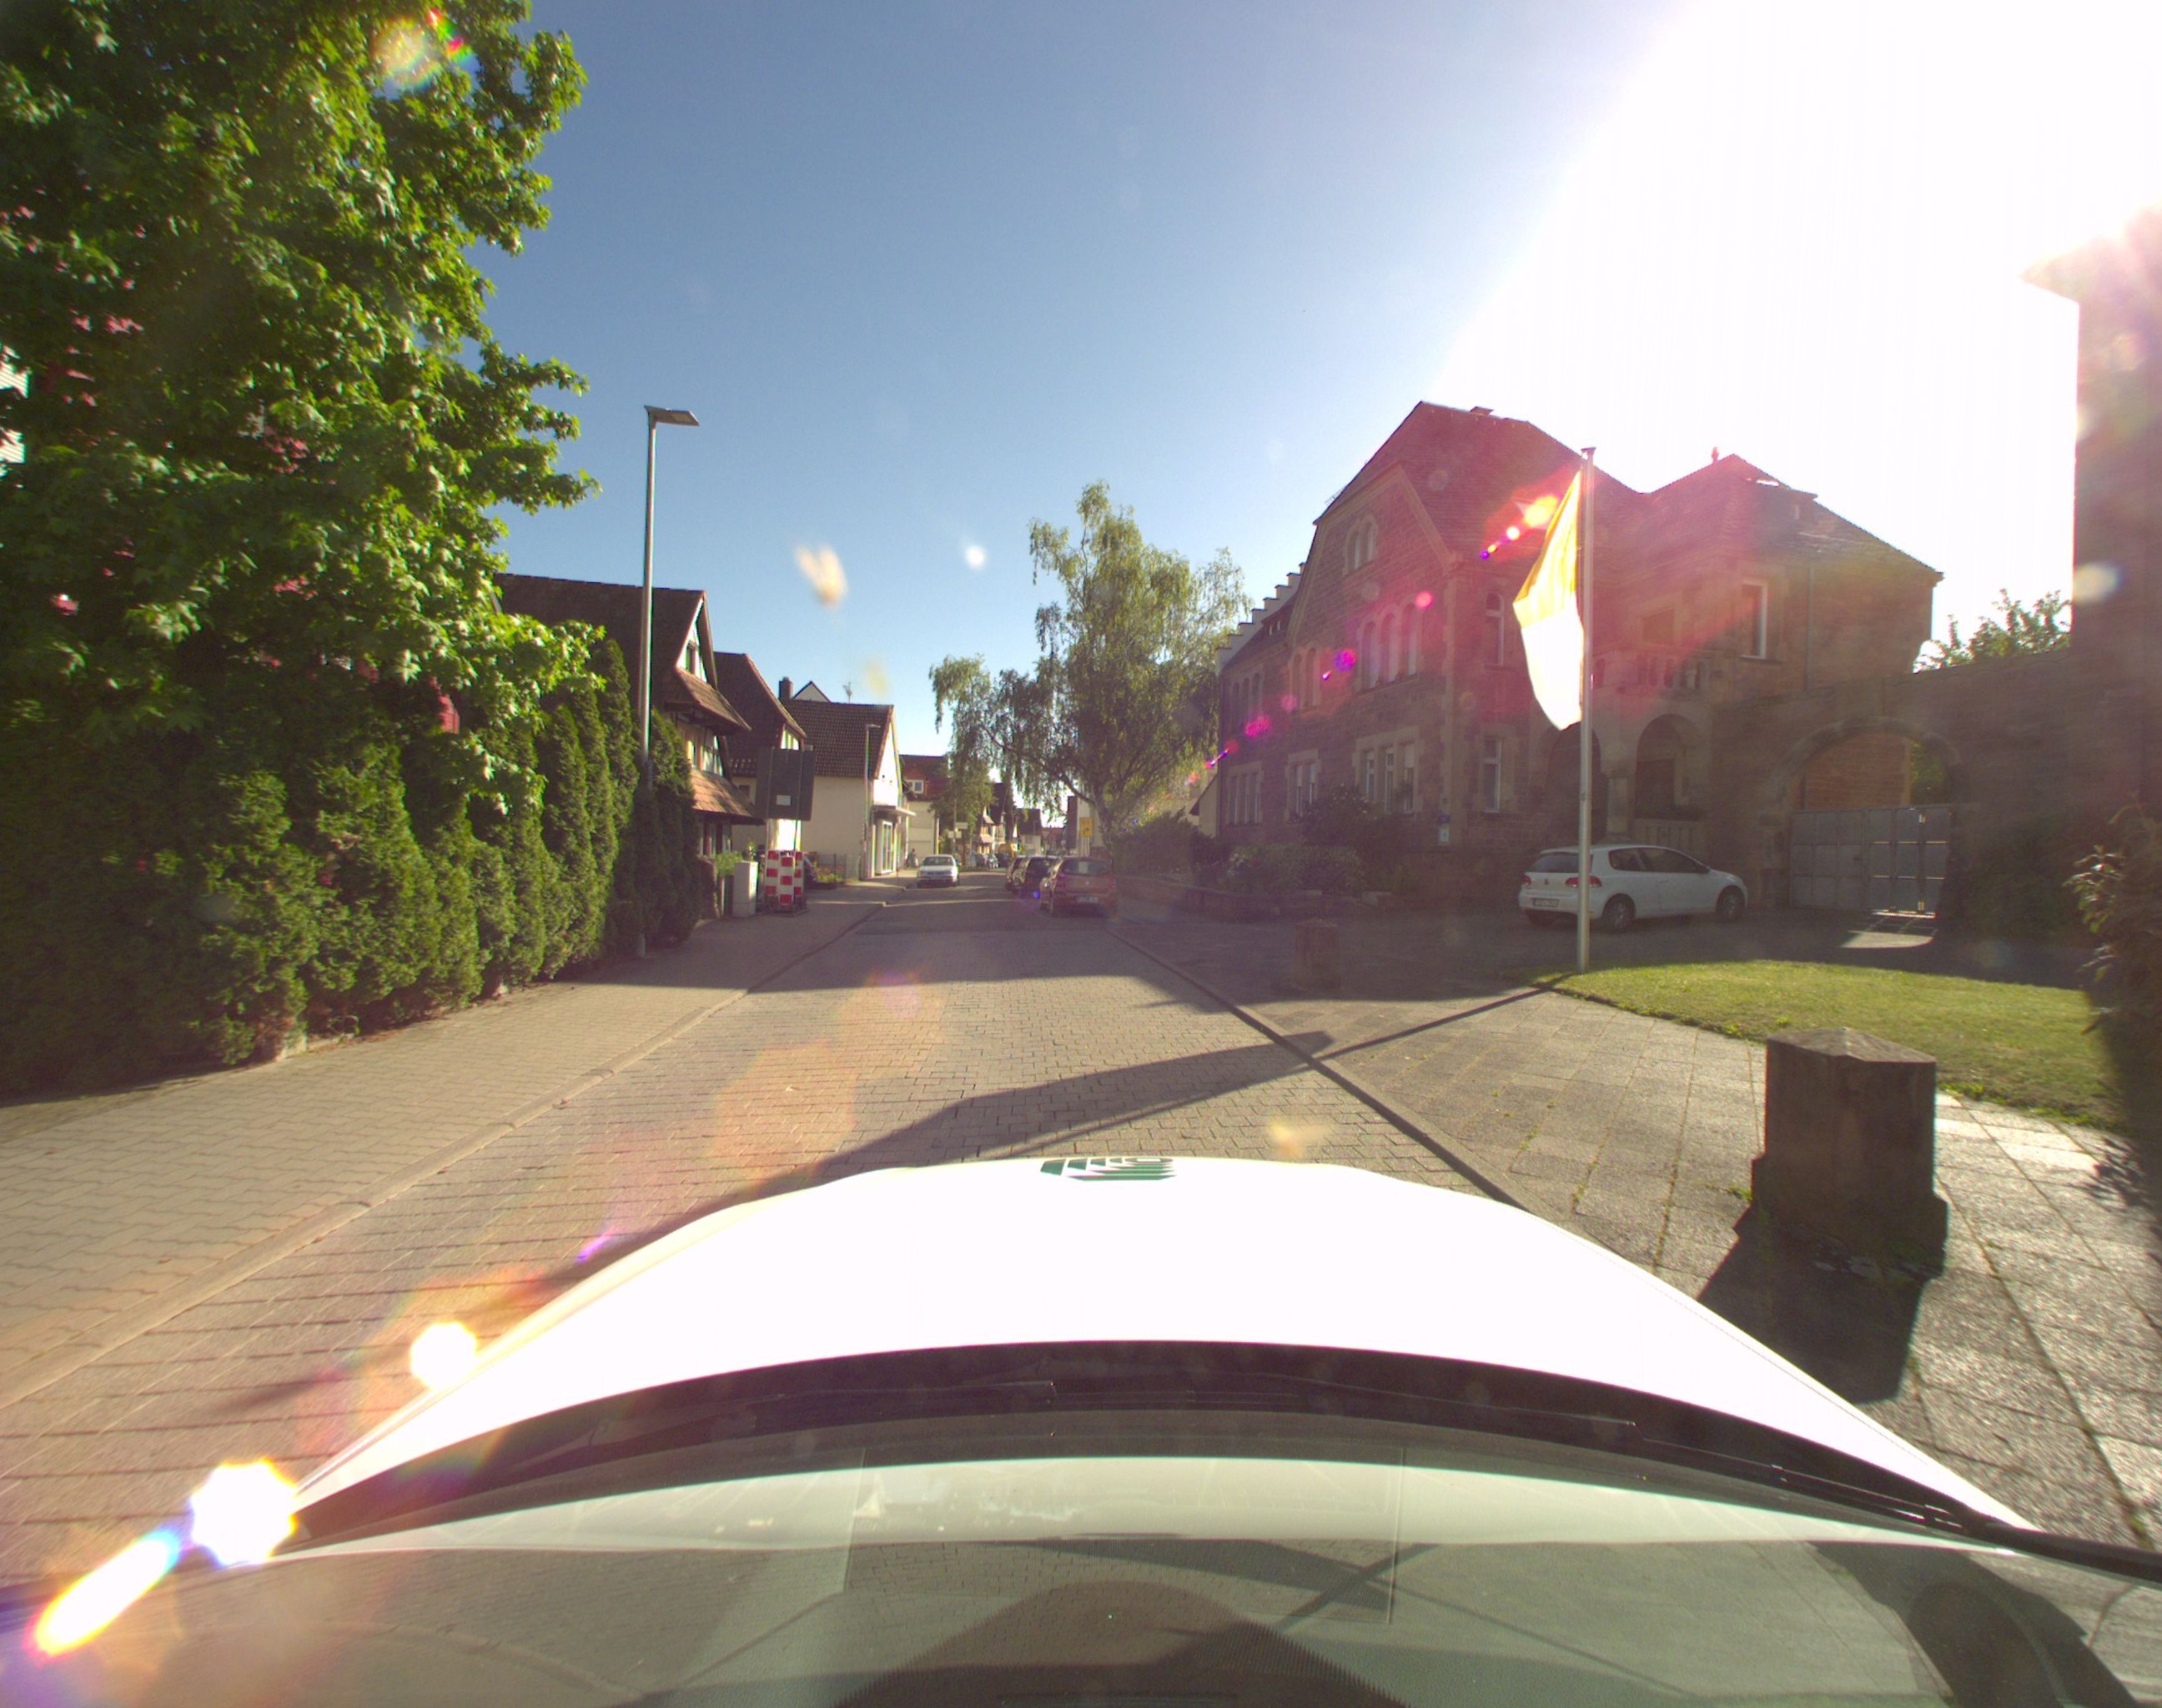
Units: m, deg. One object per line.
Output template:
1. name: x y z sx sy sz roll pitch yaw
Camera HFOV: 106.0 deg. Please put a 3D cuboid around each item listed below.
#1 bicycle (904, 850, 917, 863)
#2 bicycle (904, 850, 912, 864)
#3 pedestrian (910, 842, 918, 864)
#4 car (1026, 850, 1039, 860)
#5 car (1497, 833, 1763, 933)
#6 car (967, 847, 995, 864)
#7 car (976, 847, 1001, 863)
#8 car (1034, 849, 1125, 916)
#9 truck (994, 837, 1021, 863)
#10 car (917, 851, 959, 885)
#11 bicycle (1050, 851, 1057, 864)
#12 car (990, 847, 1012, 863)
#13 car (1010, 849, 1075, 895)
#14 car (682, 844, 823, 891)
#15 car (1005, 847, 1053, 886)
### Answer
1. bicycle: -14.101 0.243 67.284 0.576 1.052 2.036 1 -1 1
2. bicycle: -13.587 0.233 63.914 0.422 1.052 1.378 1 -1 -6
3. pedestrian: -13.180 -0.106 64.127 0.482 1.693 0.556 2 -2 -3
4. car: -6.997 0.116 117.632 1.583 1.442 3.614 2 0 0
5. car: 9.874 0.470 14.747 3.906 1.496 1.894 -2 0 -16
6. car: -9.370 0.122 76.447 1.860 1.505 4.110 1 0 2
7. car: -9.186 0.119 80.838 1.799 1.505 4.110 1 0 2
8. car: -0.137 0.659 20.983 1.648 1.478 3.920 2 1 -10
9. truck: -8.543 -0.465 95.247 2.259 2.868 5.786 1 0 2
10. car: -6.347 0.579 36.437 1.670 1.402 3.882 0 1 -8
11. bicycle: -2.631 0.320 78.309 0.431 1.176 1.831 1 0 5
12. car: -8.794 0.106 89.770 1.799 1.622 3.883 1 0 2
13. car: -1.467 0.605 29.310 1.807 1.436 4.271 2 1 -10
14. car: -11.080 0.424 27.781 4.163 1.462 1.840 -1 1 -13
15. car: -2.237 0.463 33.963 1.805 1.436 4.277 2 1 -6
